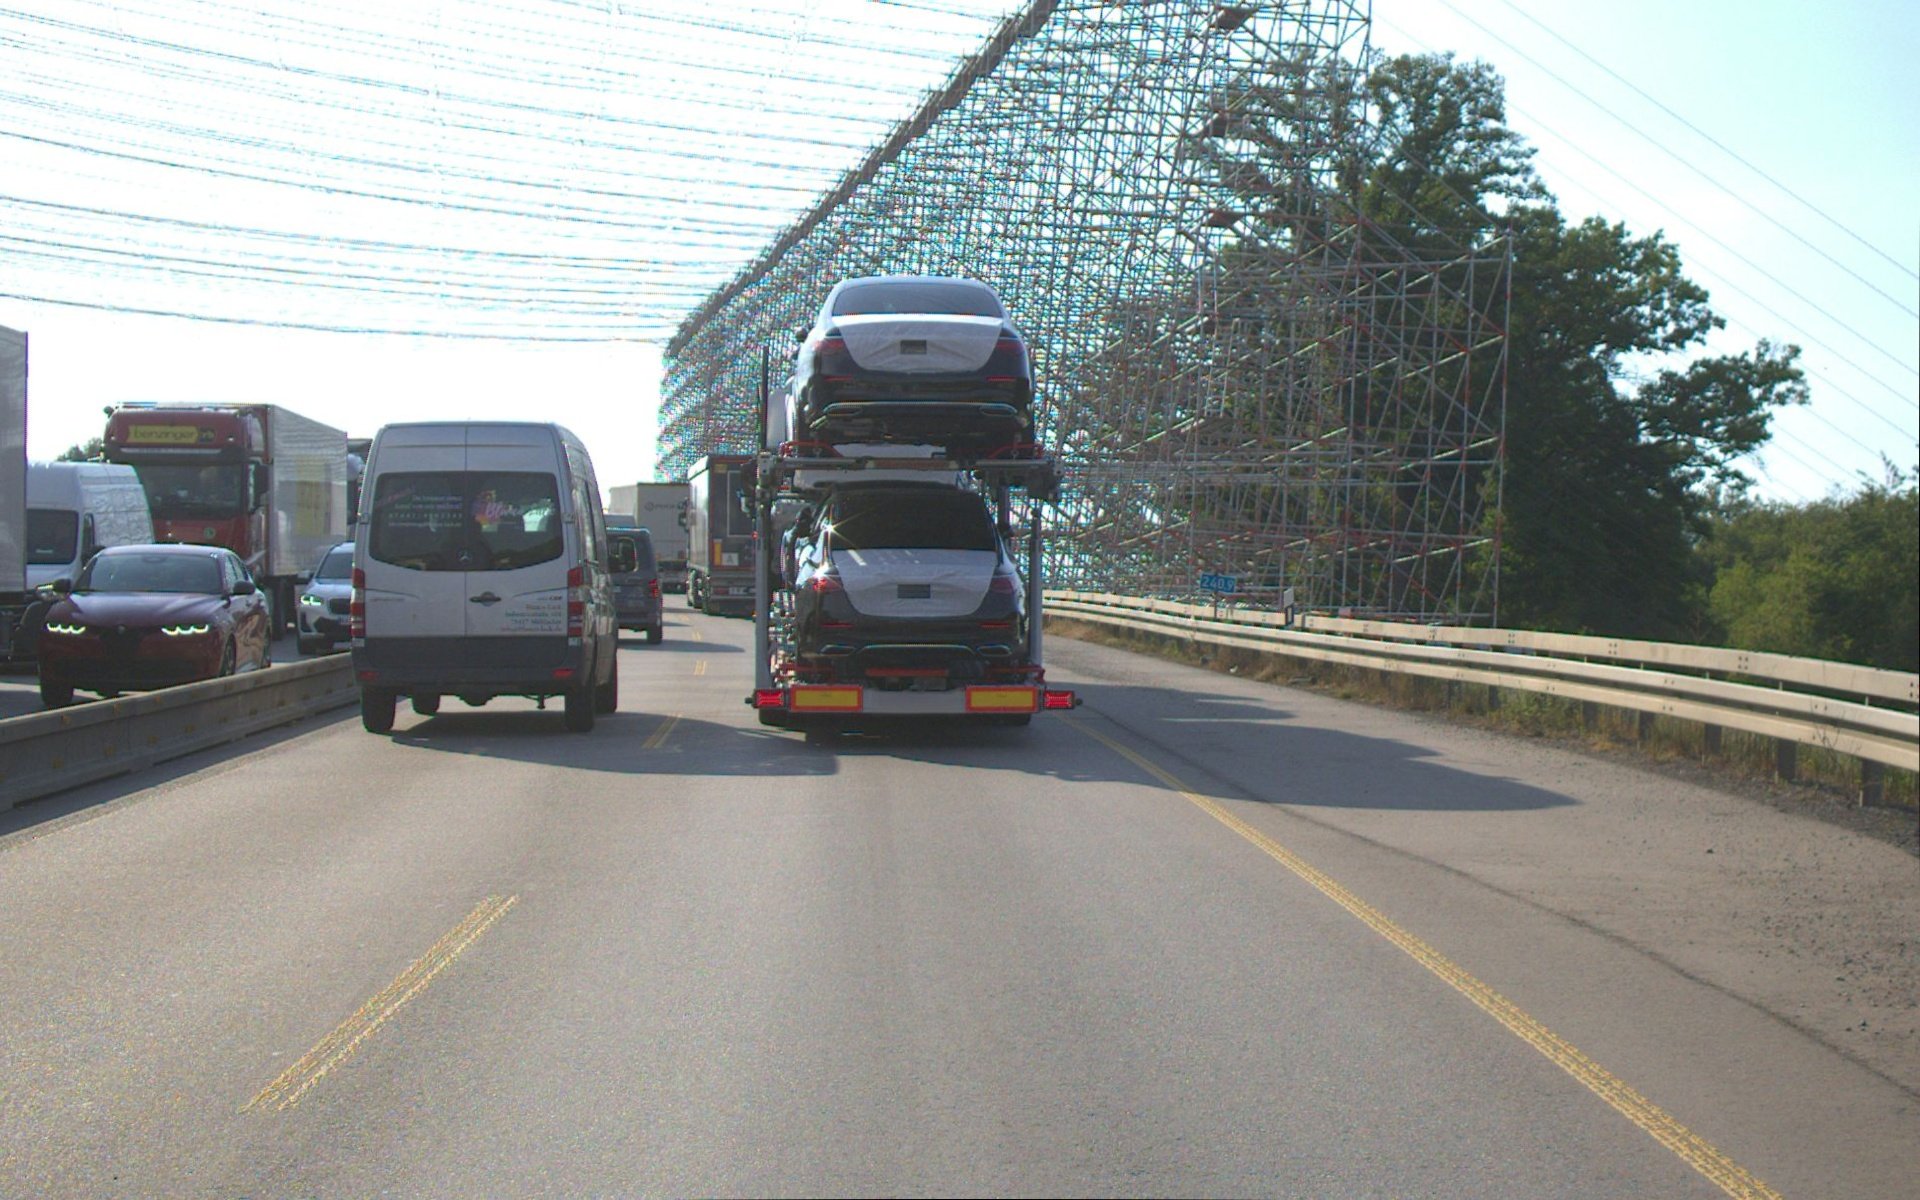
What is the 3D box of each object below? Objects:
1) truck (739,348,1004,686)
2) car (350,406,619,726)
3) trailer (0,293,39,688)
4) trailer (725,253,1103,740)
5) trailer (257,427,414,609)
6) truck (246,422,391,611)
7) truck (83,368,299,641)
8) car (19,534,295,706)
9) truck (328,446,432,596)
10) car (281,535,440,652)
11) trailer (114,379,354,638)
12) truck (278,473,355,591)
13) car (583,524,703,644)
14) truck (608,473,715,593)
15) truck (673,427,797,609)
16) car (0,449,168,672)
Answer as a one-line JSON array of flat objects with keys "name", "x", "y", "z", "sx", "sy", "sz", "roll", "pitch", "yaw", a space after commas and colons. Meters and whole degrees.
[{"name": "truck", "x": -1.147, "y": -0.948, "z": 41.401, "sx": 2.881, "sy": 3.690, "sz": 7.326, "roll": 0, "pitch": 1, "yaw": -3}, {"name": "car", "x": -4.089, "y": -0.287, "z": 30.137, "sx": 1.956, "sy": 2.612, "sz": 4.000, "roll": 0, "pitch": 0, "yaw": -2}, {"name": "trailer", "x": -11.267, "y": -1.119, "z": 31.553, "sx": 2.720, "sy": 4.203, "sz": 13.751, "roll": 0, "pitch": 1, "yaw": -4}, {"name": "trailer", "x": -0.751, "y": -0.868, "z": 33.817, "sx": 2.868, "sy": 3.712, "sz": 14.949, "roll": 0, "pitch": 1, "yaw": -3}, {"name": "trailer", "x": -15.308, "y": -1.944, "z": 85.180, "sx": 2.798, "sy": 4.127, "sz": 13.969, "roll": 0, "pitch": 1, "yaw": -6}, {"name": "truck", "x": -14.584, "y": -1.857, "z": 78.459, "sx": 2.787, "sy": 4.127, "sz": 5.935, "roll": 0, "pitch": 1, "yaw": -6}, {"name": "truck", "x": -12.715, "y": -1.530, "z": 57.247, "sx": 2.744, "sy": 4.285, "sz": 5.935, "roll": 0, "pitch": 1, "yaw": -5}, {"name": "car", "x": -8.106, "y": 0.153, "z": 35.087, "sx": 1.887, "sy": 1.563, "sz": 4.456, "roll": 2, "pitch": 1, "yaw": -2}, {"name": "truck", "x": -16.547, "y": -2.217, "z": 98.172, "sx": 2.786, "sy": 4.127, "sz": 6.681, "roll": 0, "pitch": 1, "yaw": -9}, {"name": "car", "x": -9.253, "y": -0.141, "z": 53.413, "sx": 1.869, "sy": 1.583, "sz": 4.804, "roll": 2, "pitch": 2, "yaw": -4}, {"name": "trailer", "x": -13.385, "y": -1.603, "z": 64.549, "sx": 2.765, "sy": 4.319, "sz": 13.883, "roll": 0, "pitch": 1, "yaw": -5}, {"name": "truck", "x": -23.763, "y": -2.507, "z": 126.768, "sx": 2.661, "sy": 4.215, "sz": 6.106, "roll": 0, "pitch": 1, "yaw": -12}, {"name": "car", "x": -5.572, "y": -0.292, "z": 60.436, "sx": 1.993, "sy": 2.007, "sz": 4.001, "roll": 1, "pitch": 0, "yaw": -5}, {"name": "truck", "x": -11.330, "y": -2.582, "z": 131.477, "sx": 3.686, "sy": 4.206, "sz": 13.671, "roll": -2, "pitch": 1, "yaw": -4}, {"name": "truck", "x": -5.764, "y": -2.119, "z": 89.692, "sx": 2.732, "sy": 4.370, "sz": 11.522, "roll": 2, "pitch": 1, "yaw": -2}, {"name": "car", "x": -12.055, "y": -0.598, "z": 45.115, "sx": 2.021, "sy": 2.680, "sz": 6.950, "roll": 1, "pitch": 2, "yaw": -3}]
